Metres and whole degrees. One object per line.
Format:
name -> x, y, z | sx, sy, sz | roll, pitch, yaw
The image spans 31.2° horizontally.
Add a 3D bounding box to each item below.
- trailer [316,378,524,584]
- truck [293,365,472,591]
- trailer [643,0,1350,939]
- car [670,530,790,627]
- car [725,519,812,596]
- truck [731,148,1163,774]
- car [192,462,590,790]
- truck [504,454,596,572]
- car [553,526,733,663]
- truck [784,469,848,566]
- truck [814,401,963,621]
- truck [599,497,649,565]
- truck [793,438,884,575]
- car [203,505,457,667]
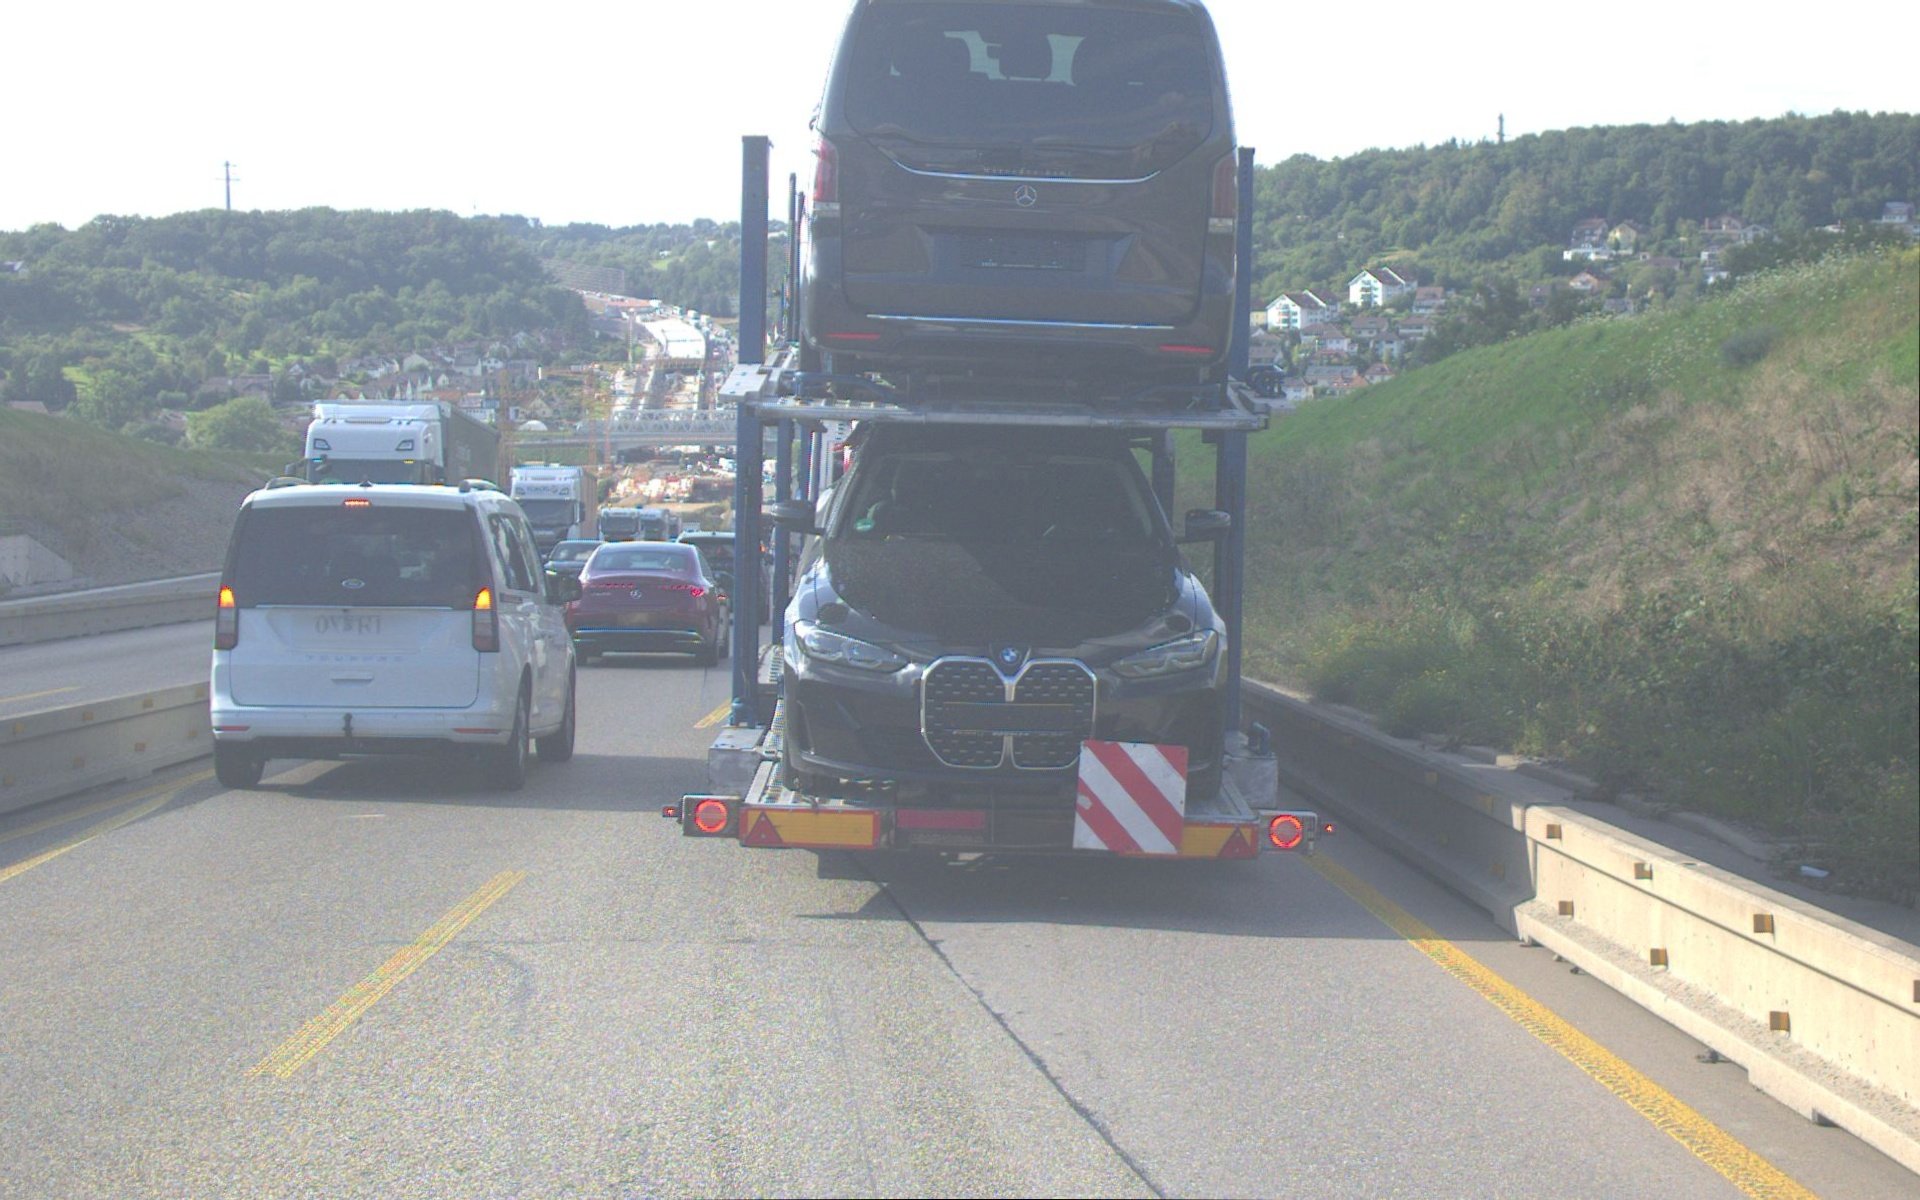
trailer -> -11.252, -2.418, 72.937 | 2.614, 3.940, 13.876 | 0, 1, -2
truck -> -11.060, -2.300, 66.261 | 2.614, 4.139, 5.782 | 0, 1, -2
trailer -> 0.026, -0.812, 19.015 | 2.708, 4.015, 11.420 | 0, 1, -1
car -> -4.073, -0.420, 61.541 | 1.993, 1.619, 4.751 | -1, 1, -2
car -> -4.123, -0.926, 73.984 | 1.796, 1.591, 4.744 | 1, 1, -3
truck -> -0.108, -0.928, 24.594 | 2.678, 3.908, 6.028 | 0, 1, 0
car -> -3.480, 0.092, 21.791 | 1.823, 1.817, 4.457 | 2, 1, -1
truck -> -14.929, -3.151, 125.784 | 2.638, 4.085, 10.820 | 0, 1, -3
car -> -3.795, -0.112, 41.773 | 1.823, 1.487, 4.685 | 2, 1, -1
truck -> -7.115, -4.015, 168.680 | 2.863, 4.555, 11.660 | 0, 1, -3
truck -> -1.741, -1.964, 77.423 | 2.863, 4.555, 11.660 | 0, 1, -3
truck -> -20.932, -4.300, 214.513 | 2.638, 4.085, 10.820 | 0, 1, -3
truck -> -4.334, -3.246, 120.549 | 2.863, 4.555, 11.660 | 0, 1, -3
car -> -7.336, -0.229, 40.587 | 1.948, 1.740, 5.579 | 1, 2, 0
